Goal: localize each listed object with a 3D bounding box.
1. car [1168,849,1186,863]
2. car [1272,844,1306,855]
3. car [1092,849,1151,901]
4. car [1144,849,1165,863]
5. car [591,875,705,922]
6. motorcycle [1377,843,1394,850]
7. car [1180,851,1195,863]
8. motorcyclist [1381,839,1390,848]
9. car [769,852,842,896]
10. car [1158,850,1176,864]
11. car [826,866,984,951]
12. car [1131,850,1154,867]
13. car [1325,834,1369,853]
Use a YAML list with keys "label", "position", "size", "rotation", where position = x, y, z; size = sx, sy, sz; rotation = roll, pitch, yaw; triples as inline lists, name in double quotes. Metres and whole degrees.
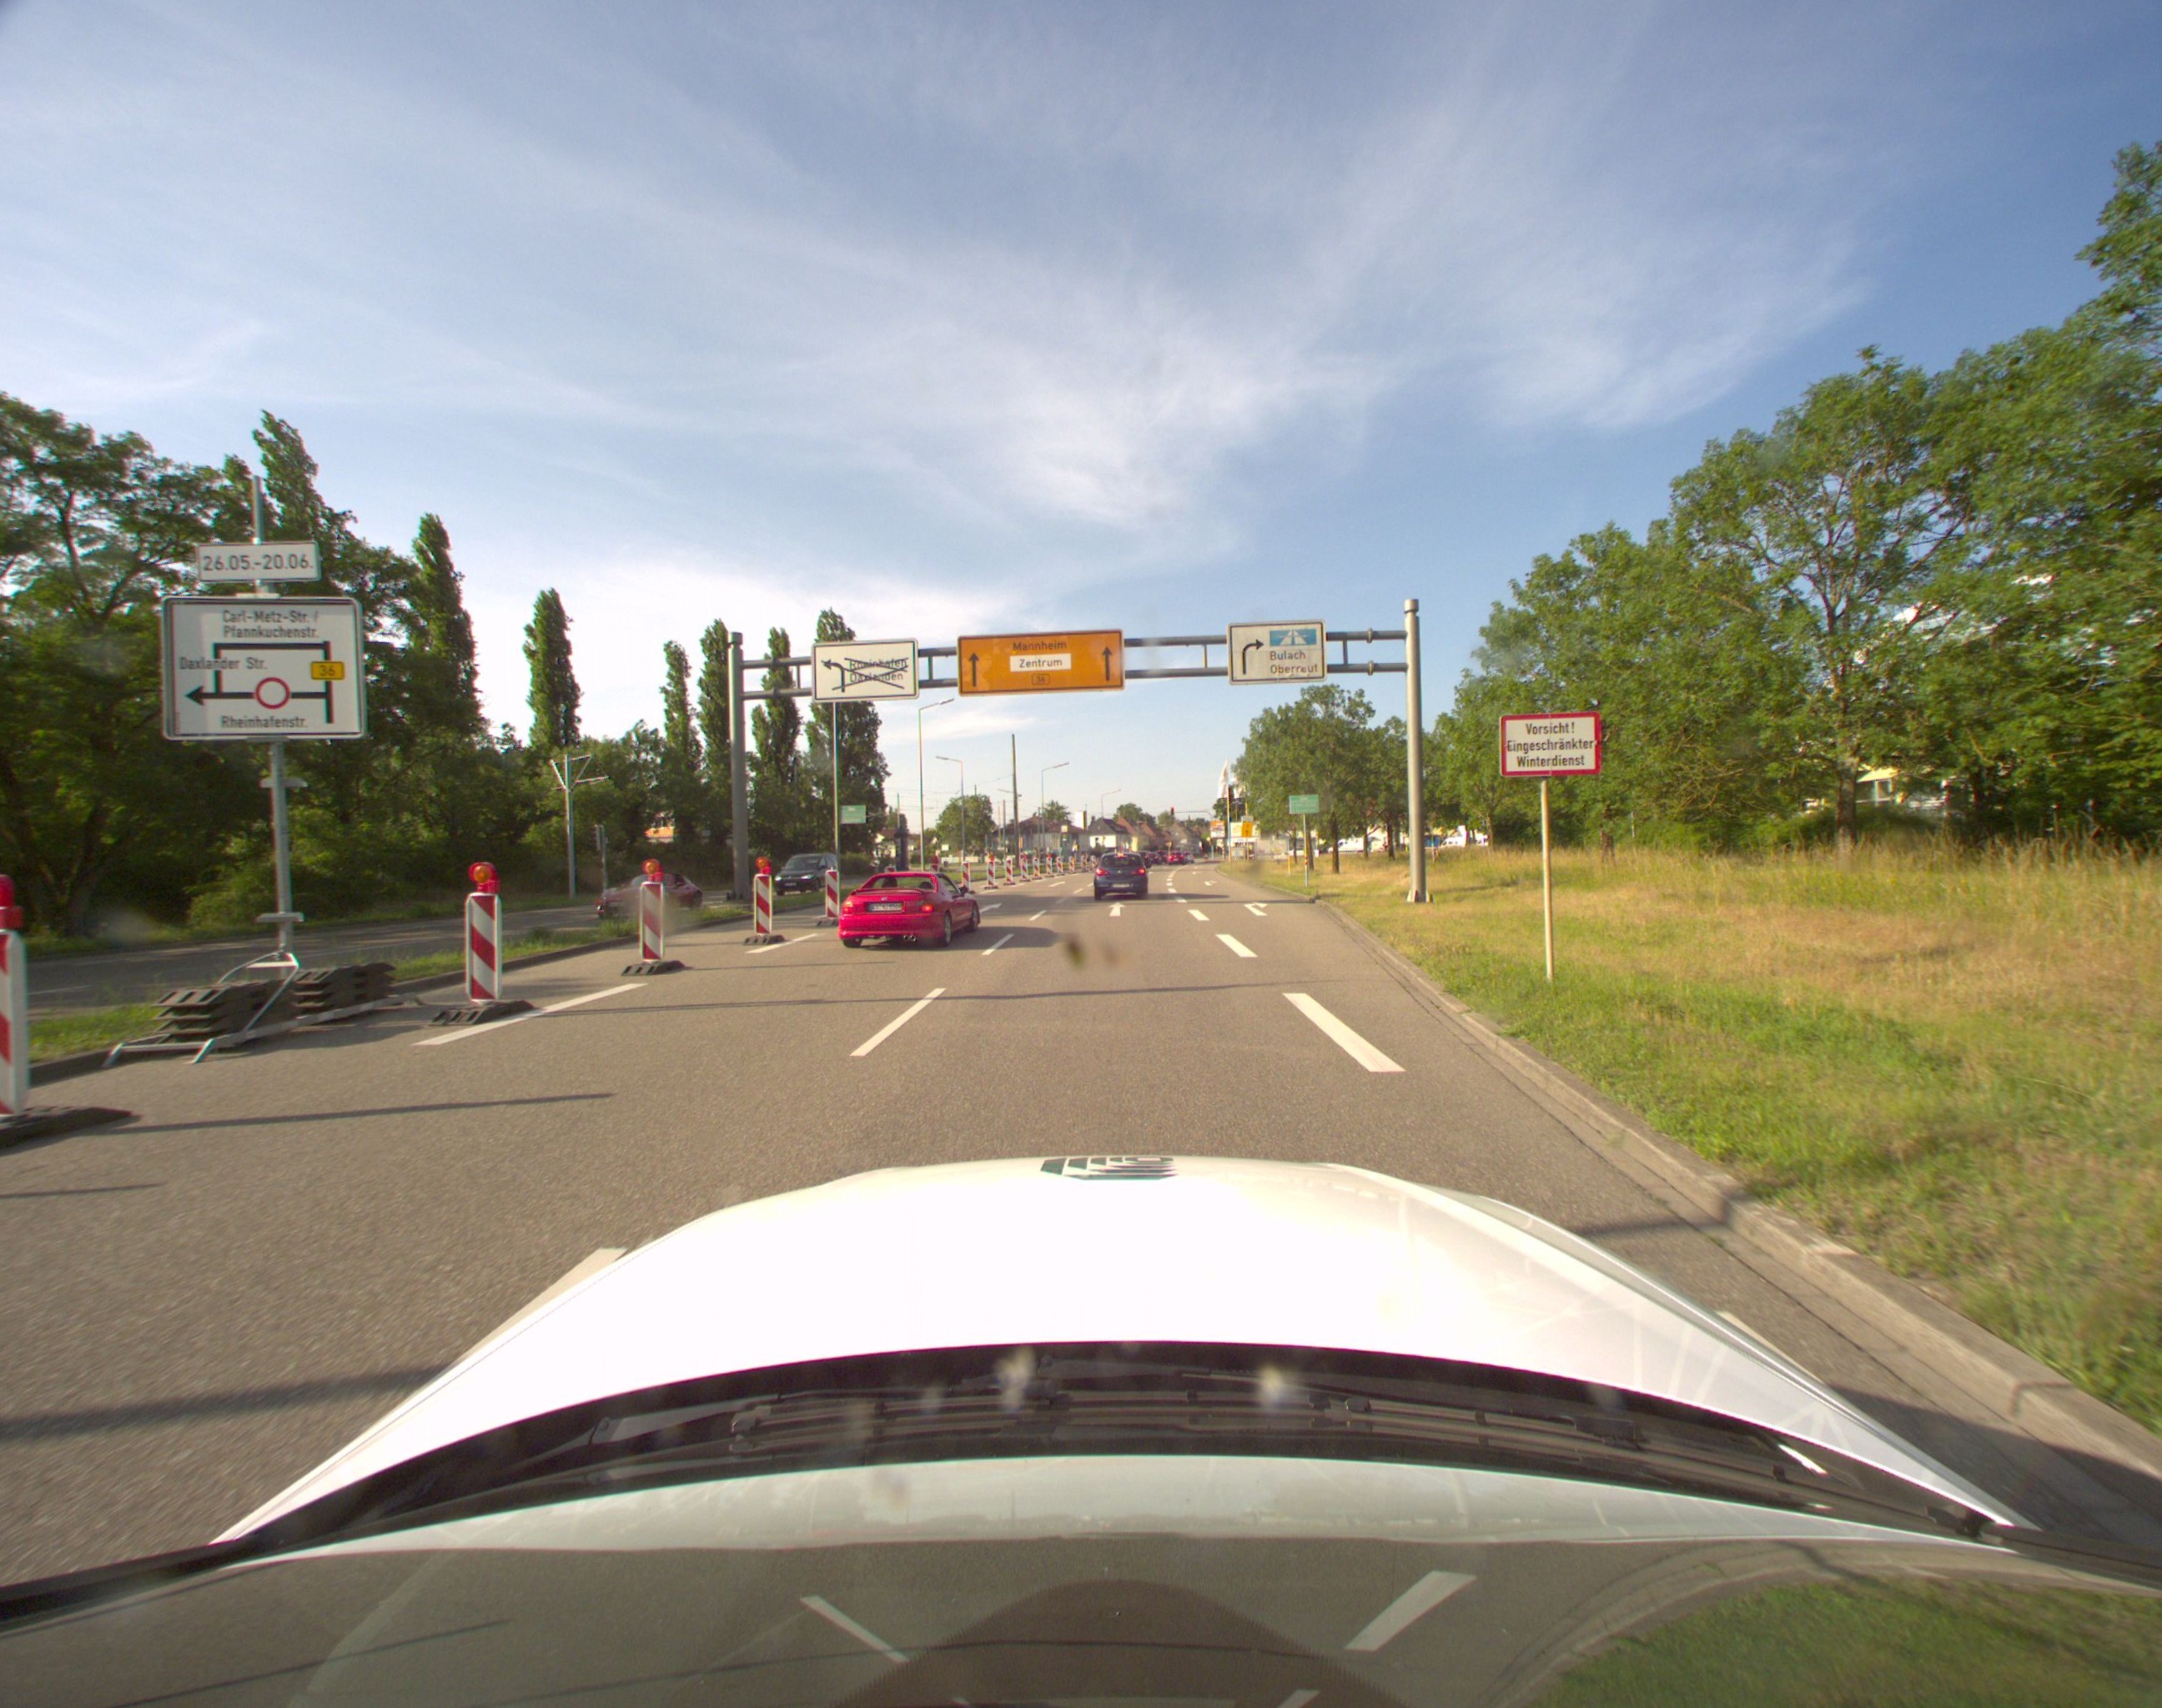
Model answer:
- label: "car"
  position: [10.673, 0.209, 90.323]
  size: [1.695, 1.552, 3.989]
  rotation: [-2, 0, 10]
- label: "car"
  position: [32.117, -0.715, 125.835]
  size: [5.058, 1.563, 1.847]
  rotation: [-2, 0, 13]
- label: "car"
  position: [1.404, 0.635, 26.801]
  size: [1.734, 1.505, 4.228]
  rotation: [-2, 0, 4]
- label: "car"
  position: [8.474, 0.238, 93.974]
  size: [1.687, 1.508, 4.571]
  rotation: [-1, 0, 14]
- label: "car"
  position: [-12.902, 1.272, 24.507]
  size: [1.507, 1.158, 3.670]
  rotation: [-1, 0, -2]
- label: "motorcycle"
  position: [45.670, -1.104, 122.066]
  size: [2.256, 0.866, 0.693]
  rotation: [-2, 0, 12]
- label: "car"
  position: [13.556, 0.376, 103.322]
  size: [1.645, 1.443, 4.026]
  rotation: [-2, 0, 11]
- label: "motorcyclist"
  position: [45.649, -1.556, 122.064]
  size: [1.058, 1.352, 0.682]
  rotation: [-2, 0, 12]
- label: "car"
  position: [-12.386, 0.870, 36.888]
  size: [1.778, 1.807, 4.125]
  rotation: [-2, 0, 2]
- label: "car"
  position: [11.060, 0.389, 104.330]
  size: [1.495, 1.651, 4.764]
  rotation: [-2, 0, 16]
- label: "car"
  position: [-2.923, 0.872, 14.390]
  size: [1.723, 1.206, 3.851]
  rotation: [0, 0, 4]
- label: "car"
  position: [6.302, 0.444, 83.300]
  size: [1.752, 1.670, 4.097]
  rotation: [-1, 0, 11]
- label: "car"
  position: [40.415, -1.570, 123.884]
  size: [6.165, 2.583, 2.007]
  rotation: [-2, 0, 13]
